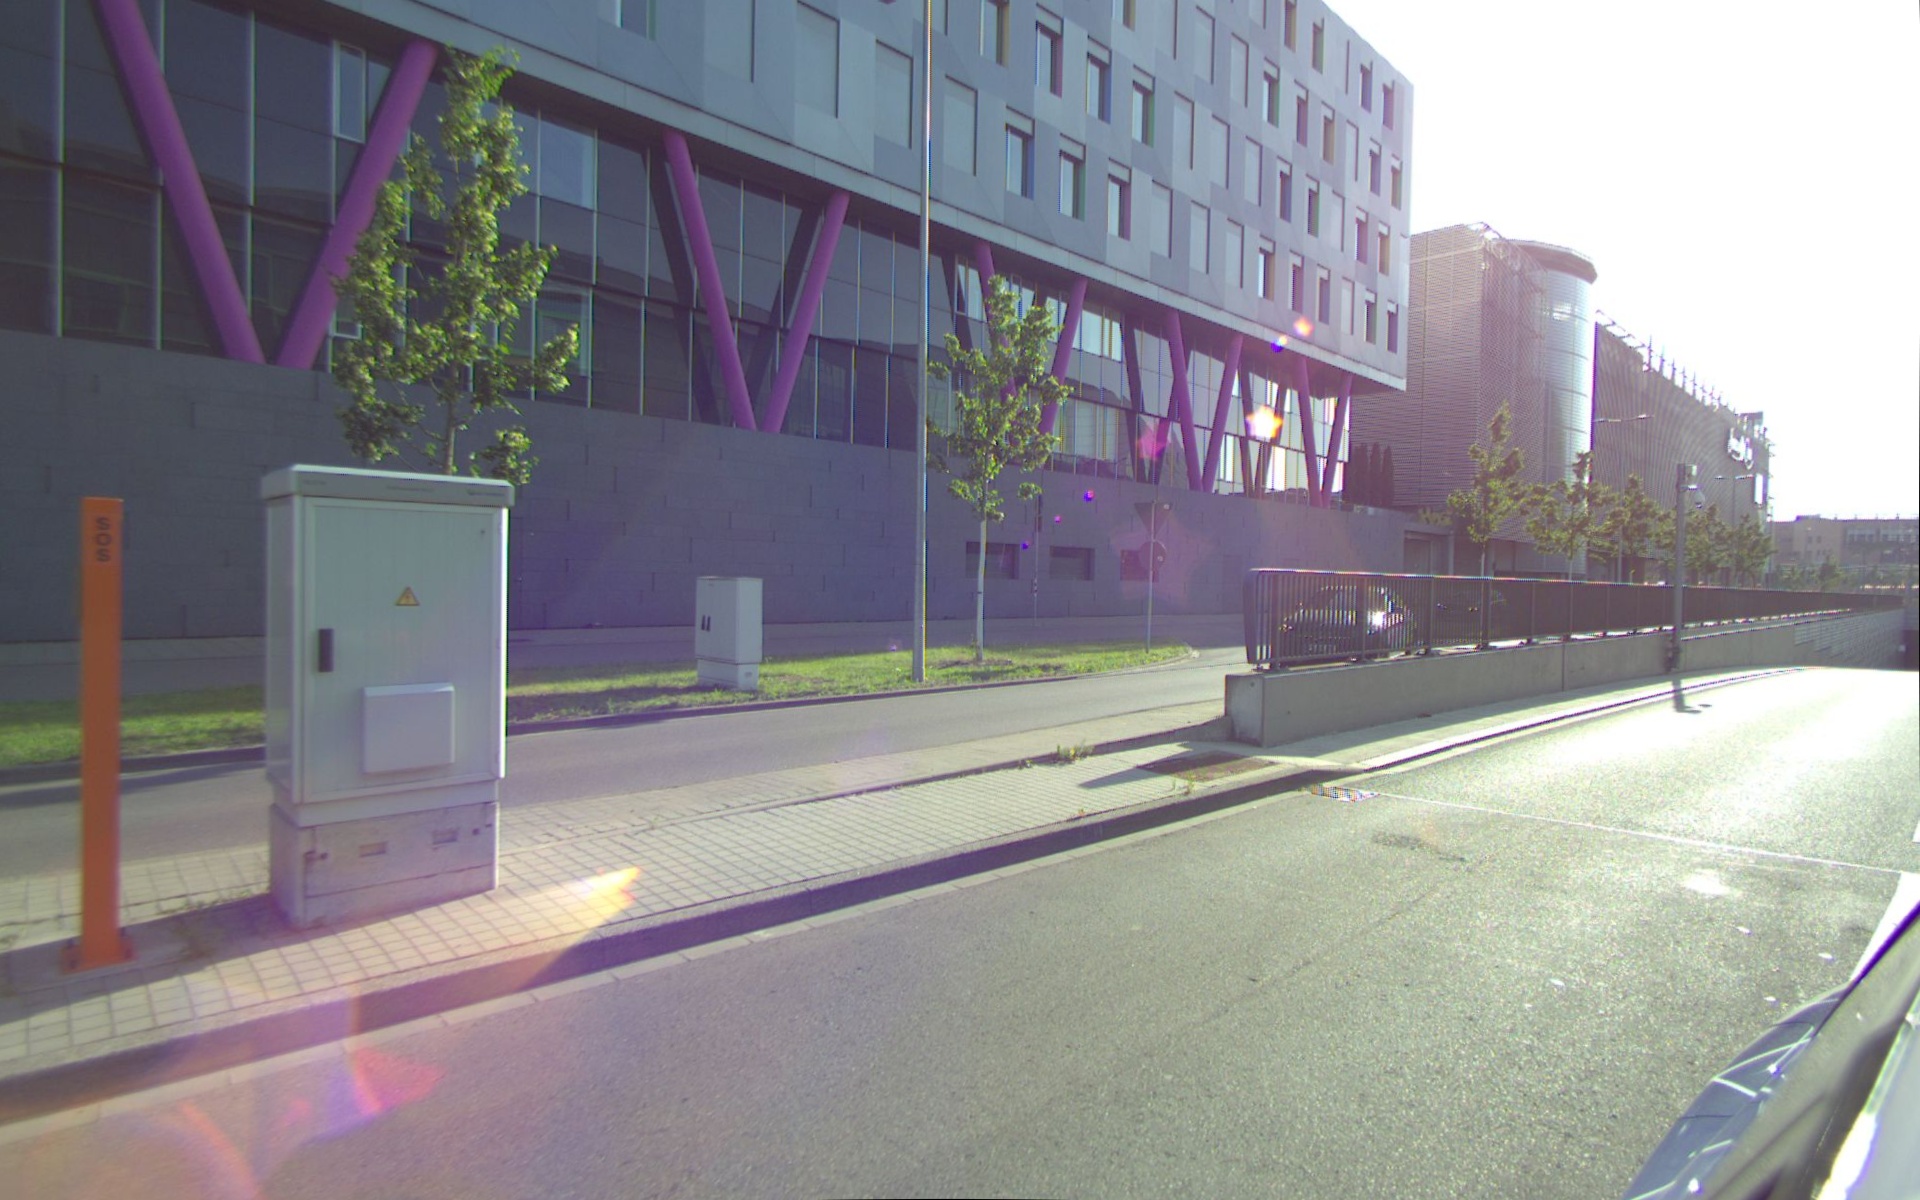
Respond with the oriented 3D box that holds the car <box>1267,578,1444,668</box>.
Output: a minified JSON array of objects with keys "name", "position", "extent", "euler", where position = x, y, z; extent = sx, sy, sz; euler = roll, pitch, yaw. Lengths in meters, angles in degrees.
[{"name":"car","position":[7.439,0.355,18.765],"extent":[1.835,1.468,4.492],"euler":[0,1,39]}]

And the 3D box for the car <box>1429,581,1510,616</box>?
[{"name":"car","position":[22.366,-0.103,44.326],"extent":[4.401,1.444,1.891],"euler":[-1,1,-45]}]
